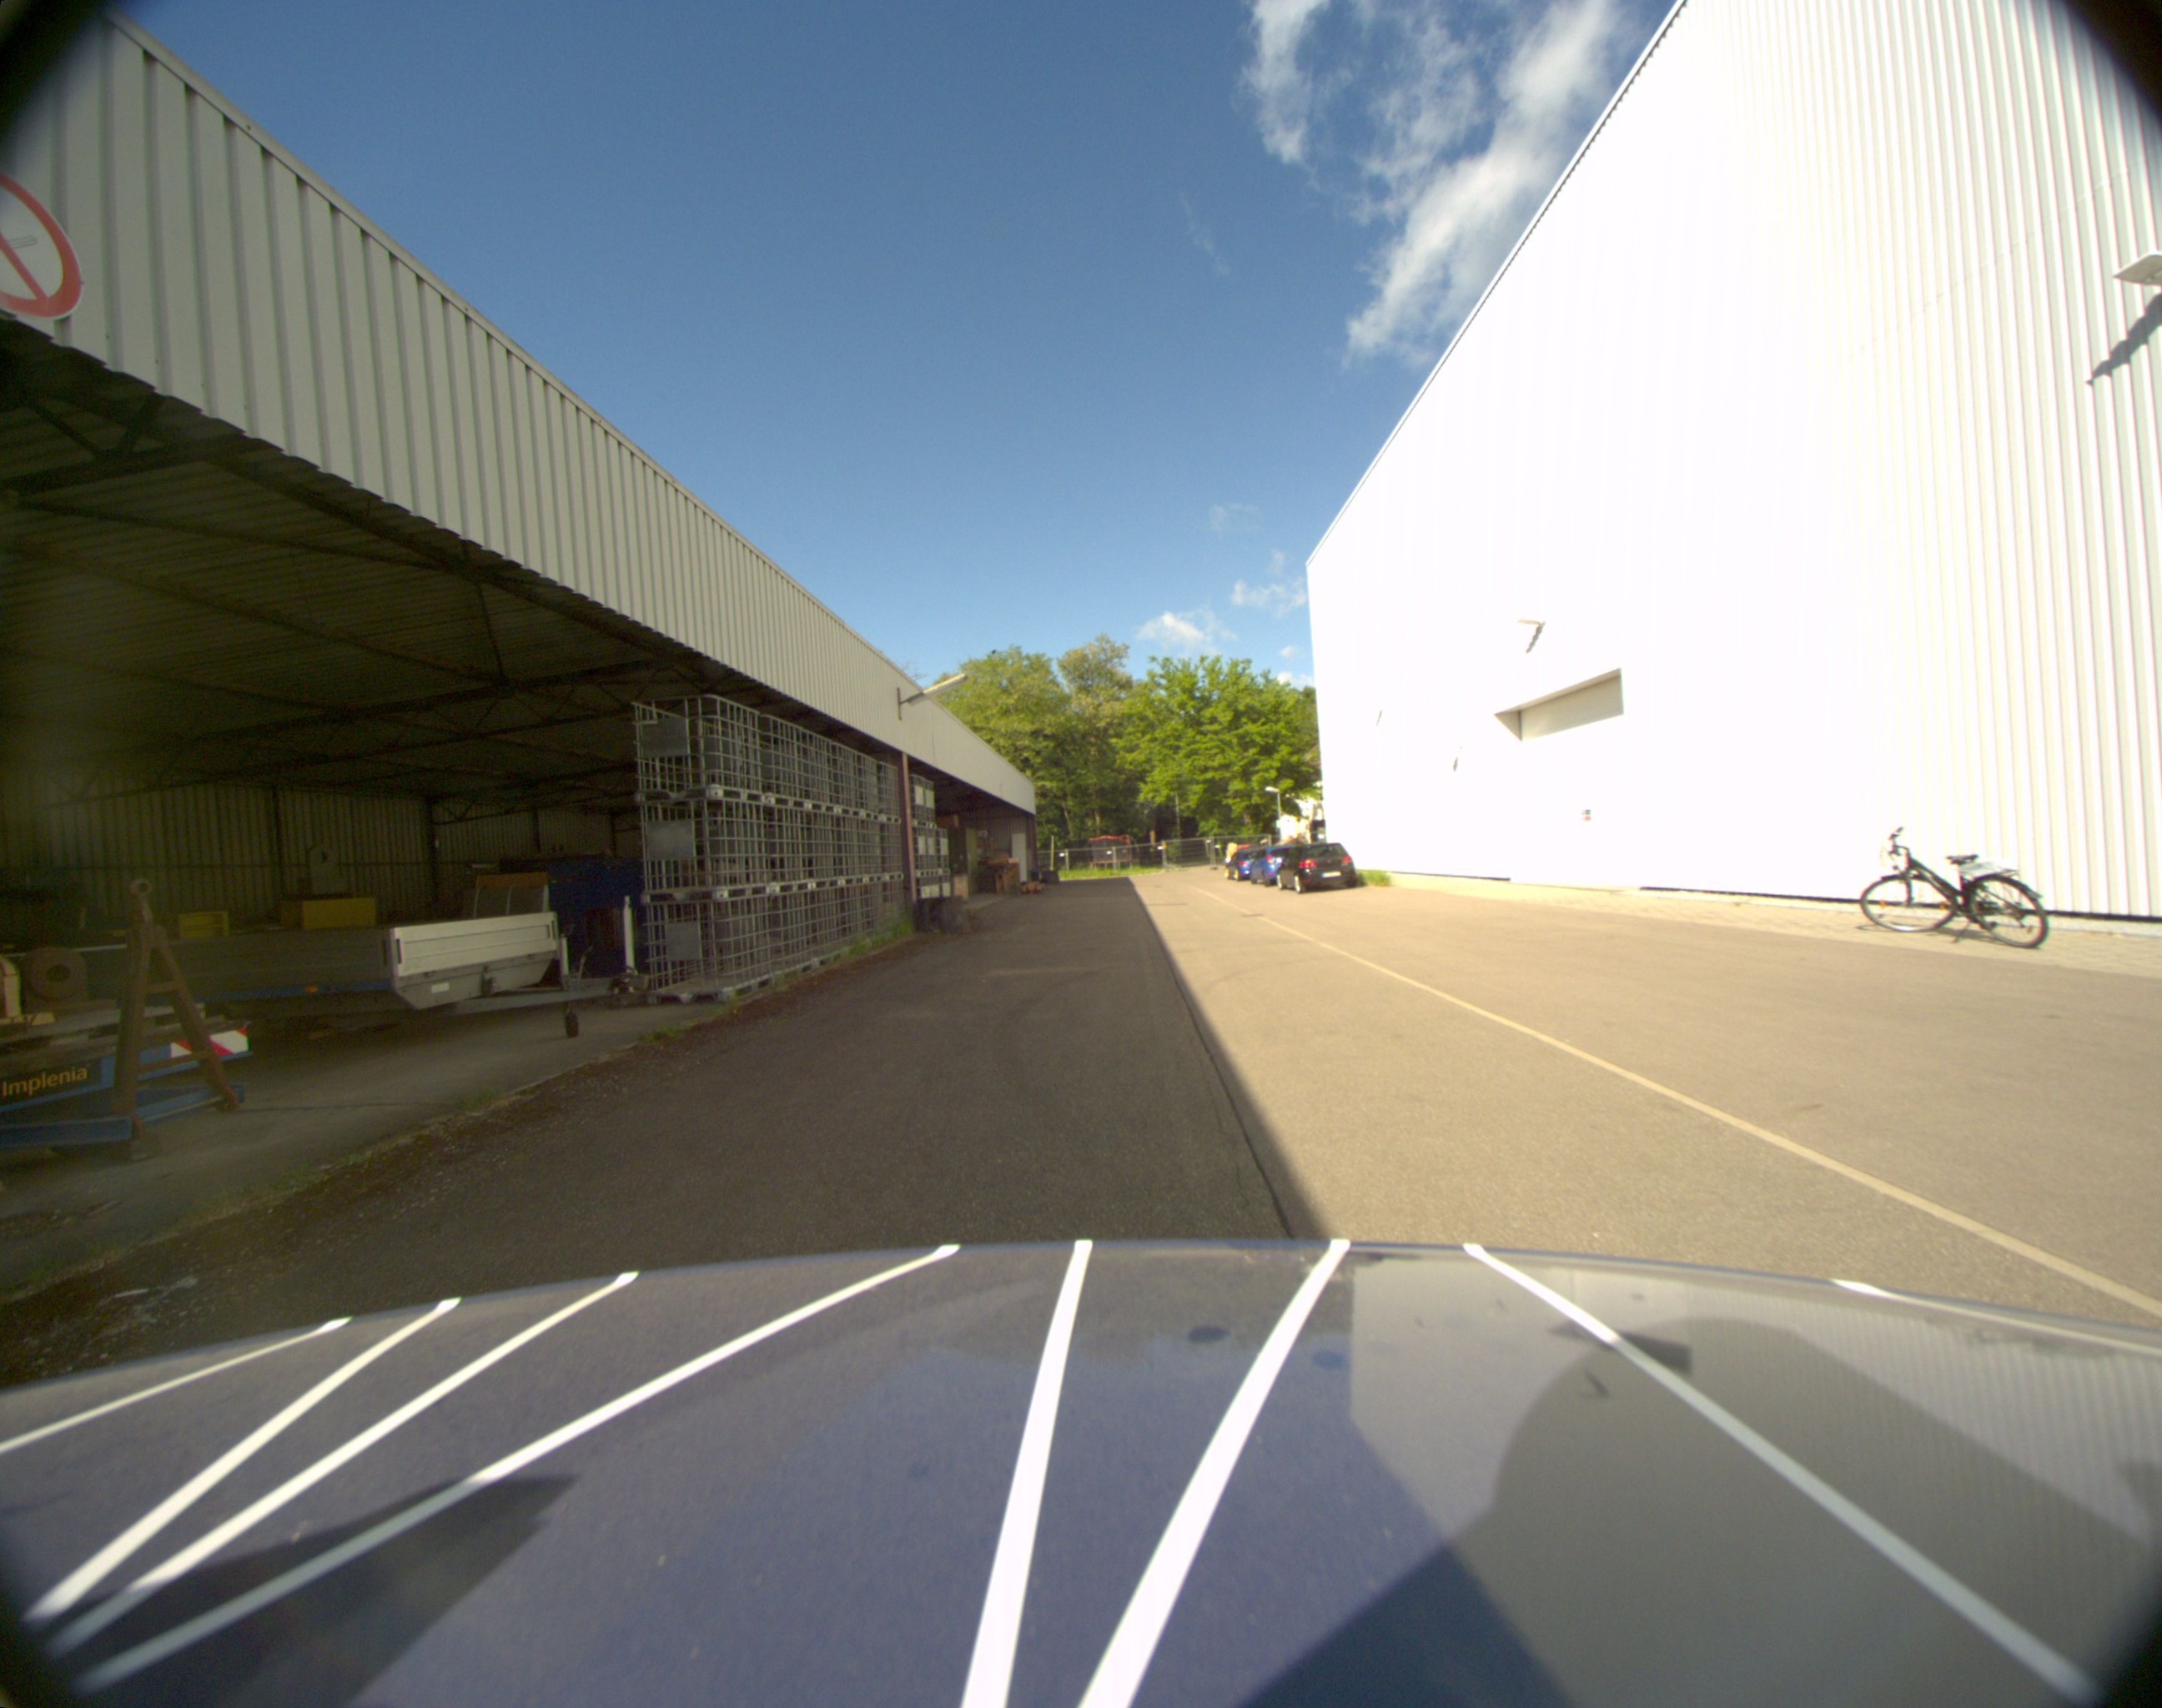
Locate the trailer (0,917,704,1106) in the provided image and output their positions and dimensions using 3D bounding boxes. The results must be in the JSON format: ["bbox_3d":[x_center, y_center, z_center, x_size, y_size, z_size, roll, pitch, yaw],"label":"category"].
[{"bbox_3d":[-6.916,1.366,7.009,5.836,1.113,2.029,-3,0,2],"label":"trailer"}]

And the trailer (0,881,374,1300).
[{"bbox_3d":[-6.800,1.104,3.650,4.879,1.619,2.029,-3,0,2],"label":"trailer"}]

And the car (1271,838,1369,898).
[{"bbox_3d":[7.307,0.378,23.655,1.895,1.513,4.001,-7,0,4],"label":"car"}]

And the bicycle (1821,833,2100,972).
[{"bbox_3d":[8.671,0.419,7.653,0.909,1.136,1.901,-7,0,18],"label":"bicycle"}]

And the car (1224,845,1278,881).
[{"bbox_3d":[7.617,0.379,34.404,1.789,1.431,4.001,-3,0,4],"label":"car"}]

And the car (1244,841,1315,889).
[{"bbox_3d":[7.468,0.362,28.902,1.789,1.513,4.001,-7,0,4],"label":"car"}]
